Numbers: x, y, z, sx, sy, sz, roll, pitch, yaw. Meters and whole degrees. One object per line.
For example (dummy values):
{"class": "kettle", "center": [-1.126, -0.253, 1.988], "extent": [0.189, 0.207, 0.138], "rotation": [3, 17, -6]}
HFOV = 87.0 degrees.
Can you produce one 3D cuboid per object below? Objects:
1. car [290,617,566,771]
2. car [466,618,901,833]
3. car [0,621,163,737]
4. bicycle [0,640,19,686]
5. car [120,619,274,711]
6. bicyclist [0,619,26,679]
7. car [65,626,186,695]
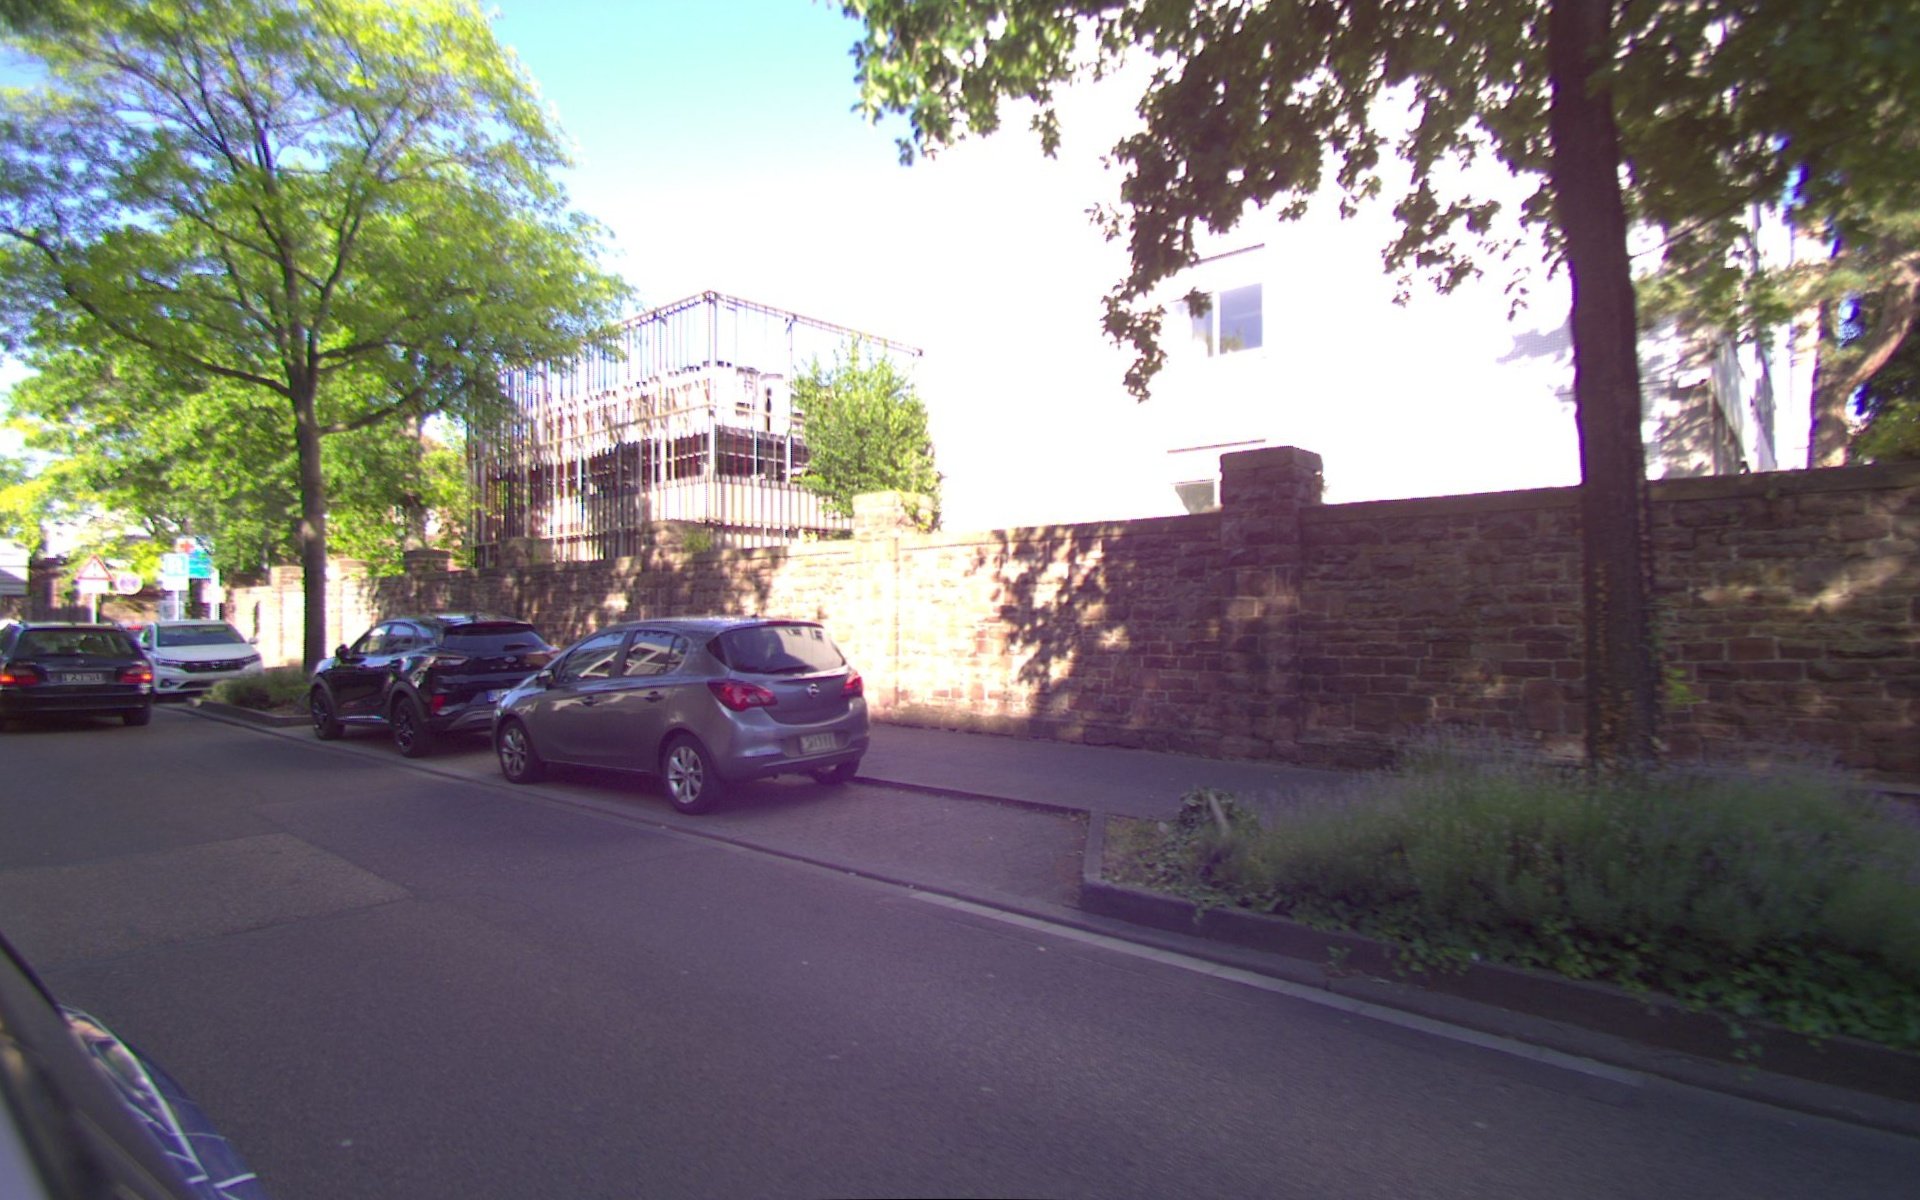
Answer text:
{"class": "car", "center": [-6.457, 0.987, 12.097], "extent": [4.042, 1.526, 1.557], "rotation": [-1, -1, 41]}
{"class": "car", "center": [-2.525, 0.918, 8.847], "extent": [3.832, 1.432, 1.671], "rotation": [-1, 0, 37]}
{"class": "car", "center": [-13.063, 1.068, 14.558], "extent": [3.968, 1.447, 1.802], "rotation": [-2, -4, 42]}
{"class": "bicycle", "center": [-24.868, 1.619, 26.353], "extent": [1.866, 1.129, 0.353], "rotation": [-1, 0, 43]}
{"class": "car", "center": [-15.046, 1.208, 19.900], "extent": [3.848, 1.522, 1.659], "rotation": [-2, 2, 42]}
{"class": "bicyclist", "center": [-24.860, 1.272, 26.361], "extent": [1.005, 1.534, 0.713], "rotation": [-1, 0, 44]}
{"class": "car", "center": [-19.887, 1.390, 24.069], "extent": [3.748, 1.412, 1.558], "rotation": [-2, 2, 41]}
